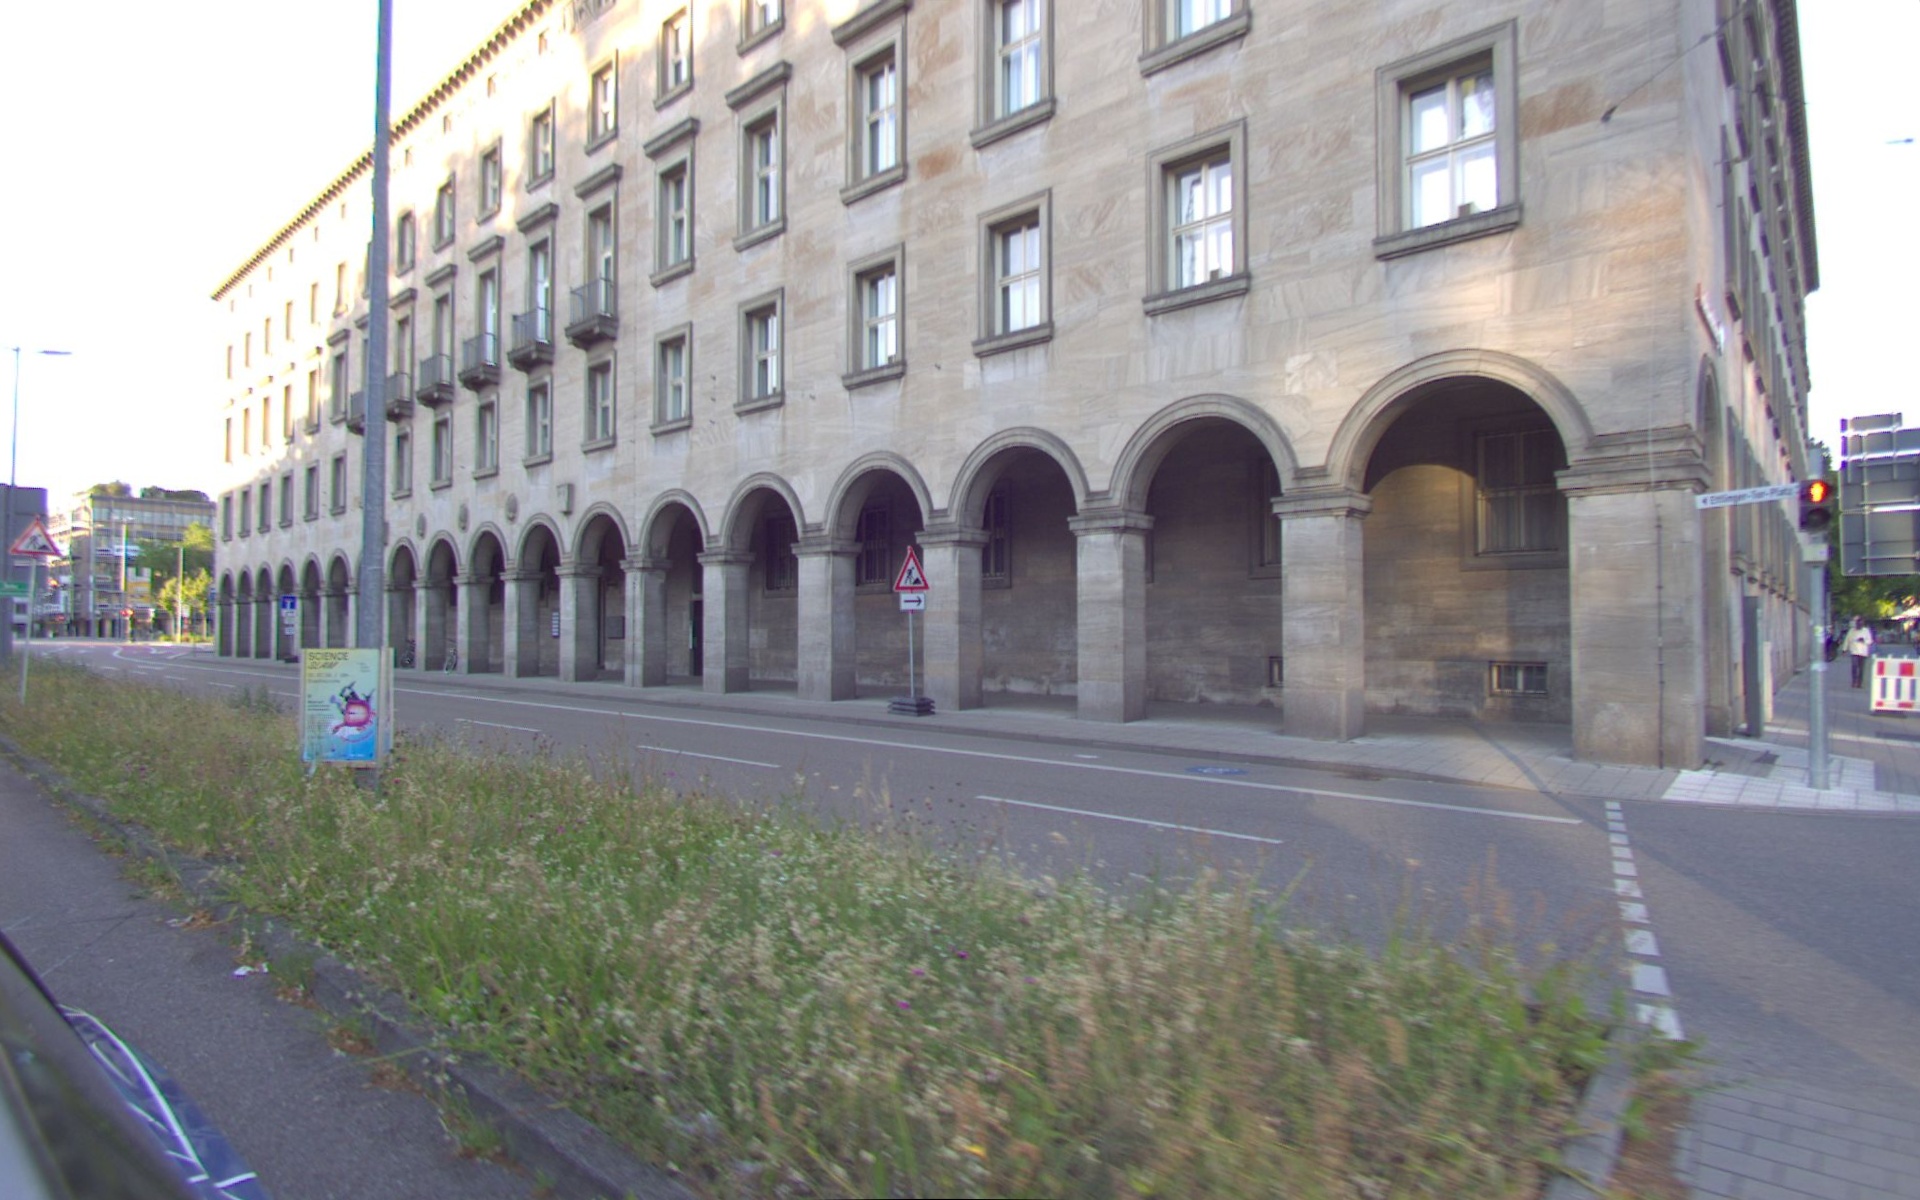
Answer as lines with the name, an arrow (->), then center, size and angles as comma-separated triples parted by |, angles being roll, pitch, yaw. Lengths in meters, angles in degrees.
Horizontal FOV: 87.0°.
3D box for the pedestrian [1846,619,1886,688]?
pedestrian -> 23.368, 1.370, 26.109 | 0.698, 1.723, 0.636 | -2, -3, 44
